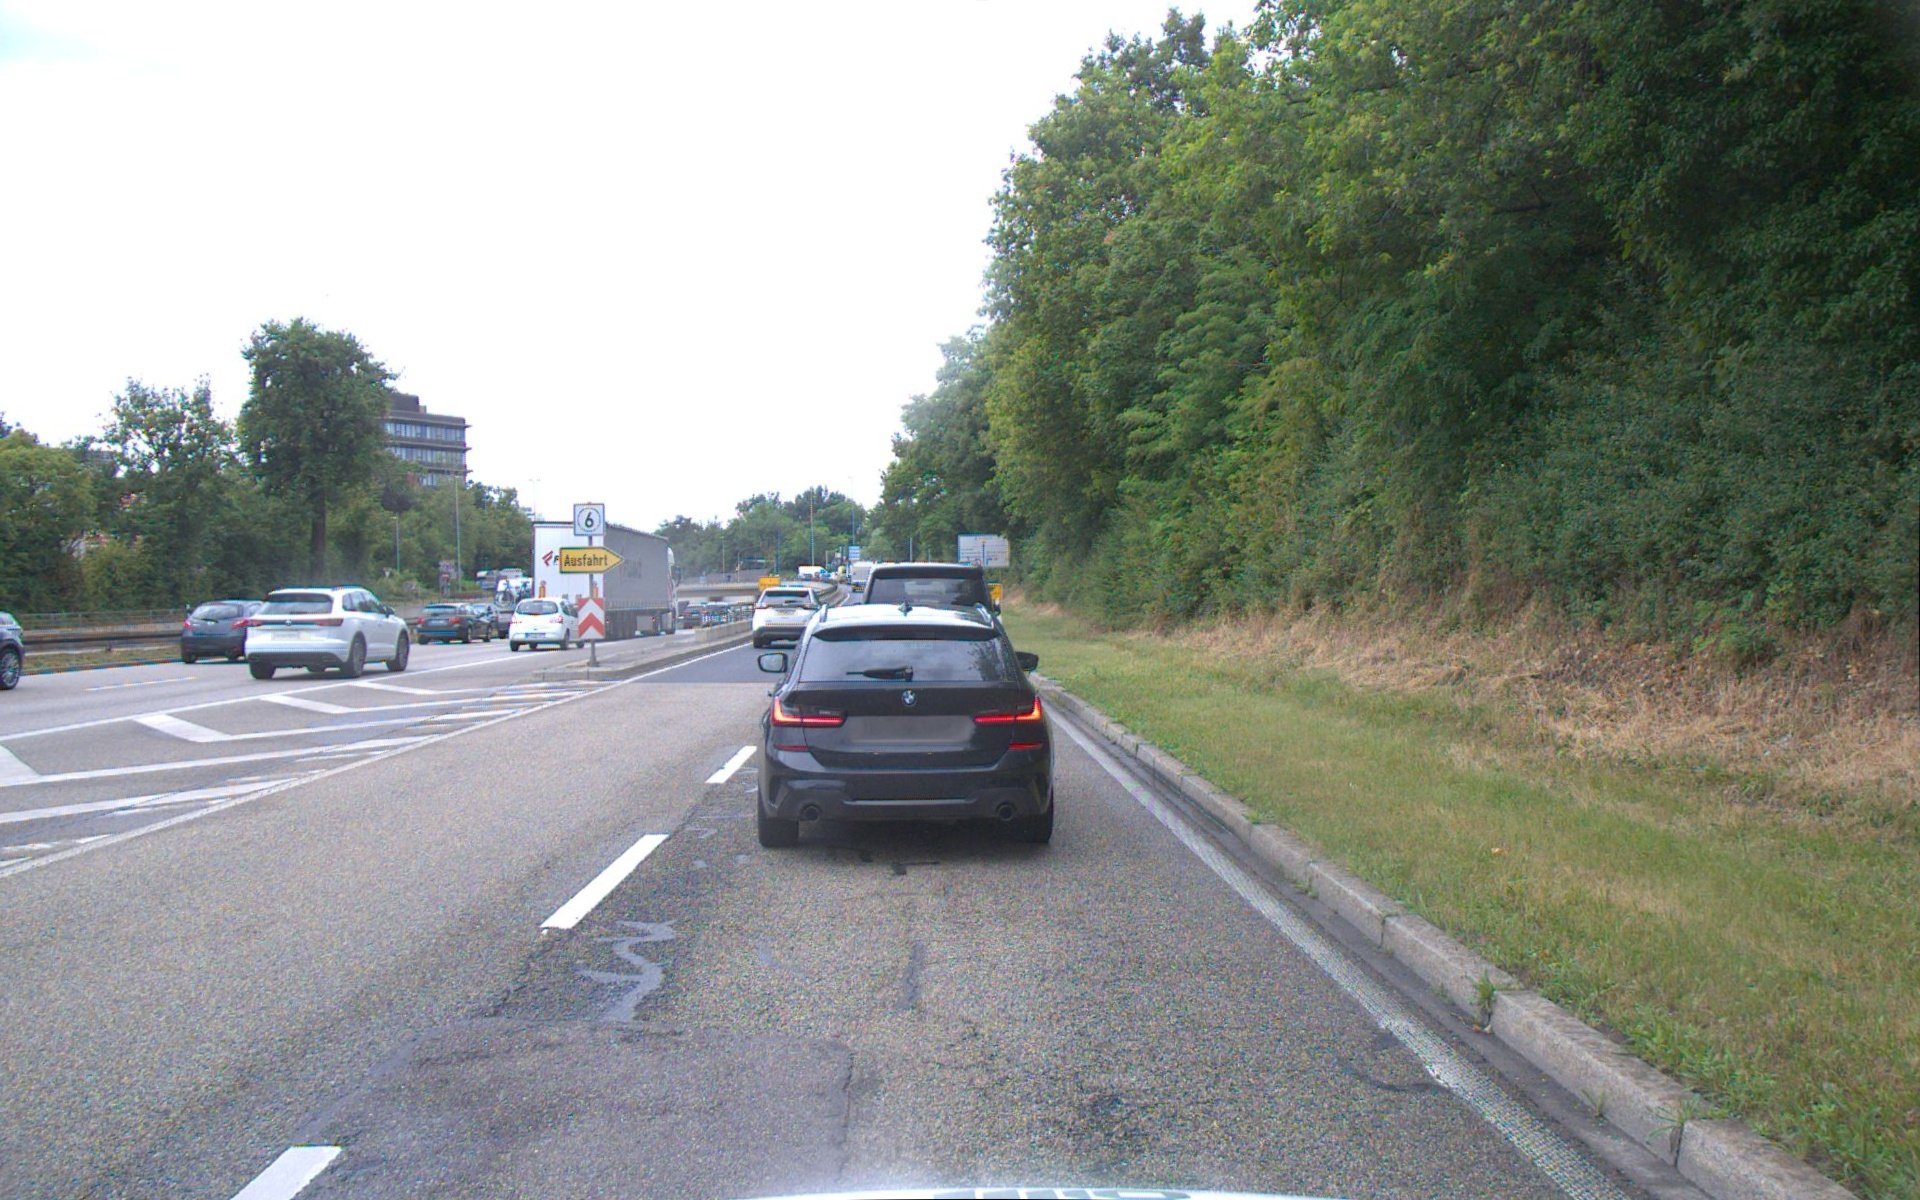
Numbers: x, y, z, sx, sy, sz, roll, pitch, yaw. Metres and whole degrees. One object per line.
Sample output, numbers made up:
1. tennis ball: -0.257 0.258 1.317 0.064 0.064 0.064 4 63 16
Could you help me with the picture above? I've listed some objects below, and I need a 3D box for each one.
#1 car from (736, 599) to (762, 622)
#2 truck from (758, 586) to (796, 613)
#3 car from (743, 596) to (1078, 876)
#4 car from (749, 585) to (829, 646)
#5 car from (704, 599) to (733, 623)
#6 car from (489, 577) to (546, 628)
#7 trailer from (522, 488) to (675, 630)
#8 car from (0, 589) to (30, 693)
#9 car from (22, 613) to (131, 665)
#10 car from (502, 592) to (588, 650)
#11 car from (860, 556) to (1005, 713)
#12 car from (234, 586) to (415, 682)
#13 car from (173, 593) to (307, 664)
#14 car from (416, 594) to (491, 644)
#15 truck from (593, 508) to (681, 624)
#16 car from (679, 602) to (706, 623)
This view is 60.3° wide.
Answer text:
1. car: -14.331 0.726 112.563 1.419 1.516 3.061 -1 0 -1
2. truck: -18.529 -0.053 167.723 3.208 2.553 7.657 -1 0 -2
3. car: -0.372 0.725 10.971 1.809 1.492 3.997 0 0 -3
4. car: -4.807 0.410 47.002 1.891 1.624 3.876 -1 0 -1
5. car: -14.849 0.690 101.879 1.350 1.422 3.061 -1 0 -1
6. car: -18.665 0.094 69.849 1.414 2.080 3.680 -1 0 -1
7. trailer: -13.463 -1.393 63.174 3.069 4.807 14.552 0 0 -2
8. car: -16.651 0.692 25.930 1.852 1.711 4.304 -1 0 -3
9. car: -29.684 1.287 55.669 1.654 1.636 4.006 1 0 -3
10. car: -11.965 0.581 47.868 1.733 1.576 3.490 -1 0 -3
11. car: -0.391 0.416 22.246 1.760 1.904 3.999 0 0 -2
12. car: -12.301 0.604 32.331 1.907 1.721 4.505 -1 0 -2
13. car: -17.504 0.656 40.399 1.654 1.636 4.006 1 0 -3
14. car: -17.887 0.645 58.562 1.654 1.660 3.732 1 0 -3
15. truck: -13.708 -1.425 70.505 3.022 4.780 4.230 0 0 -2
16. car: -19.757 0.911 122.236 1.561 1.457 3.061 -1 0 -1
